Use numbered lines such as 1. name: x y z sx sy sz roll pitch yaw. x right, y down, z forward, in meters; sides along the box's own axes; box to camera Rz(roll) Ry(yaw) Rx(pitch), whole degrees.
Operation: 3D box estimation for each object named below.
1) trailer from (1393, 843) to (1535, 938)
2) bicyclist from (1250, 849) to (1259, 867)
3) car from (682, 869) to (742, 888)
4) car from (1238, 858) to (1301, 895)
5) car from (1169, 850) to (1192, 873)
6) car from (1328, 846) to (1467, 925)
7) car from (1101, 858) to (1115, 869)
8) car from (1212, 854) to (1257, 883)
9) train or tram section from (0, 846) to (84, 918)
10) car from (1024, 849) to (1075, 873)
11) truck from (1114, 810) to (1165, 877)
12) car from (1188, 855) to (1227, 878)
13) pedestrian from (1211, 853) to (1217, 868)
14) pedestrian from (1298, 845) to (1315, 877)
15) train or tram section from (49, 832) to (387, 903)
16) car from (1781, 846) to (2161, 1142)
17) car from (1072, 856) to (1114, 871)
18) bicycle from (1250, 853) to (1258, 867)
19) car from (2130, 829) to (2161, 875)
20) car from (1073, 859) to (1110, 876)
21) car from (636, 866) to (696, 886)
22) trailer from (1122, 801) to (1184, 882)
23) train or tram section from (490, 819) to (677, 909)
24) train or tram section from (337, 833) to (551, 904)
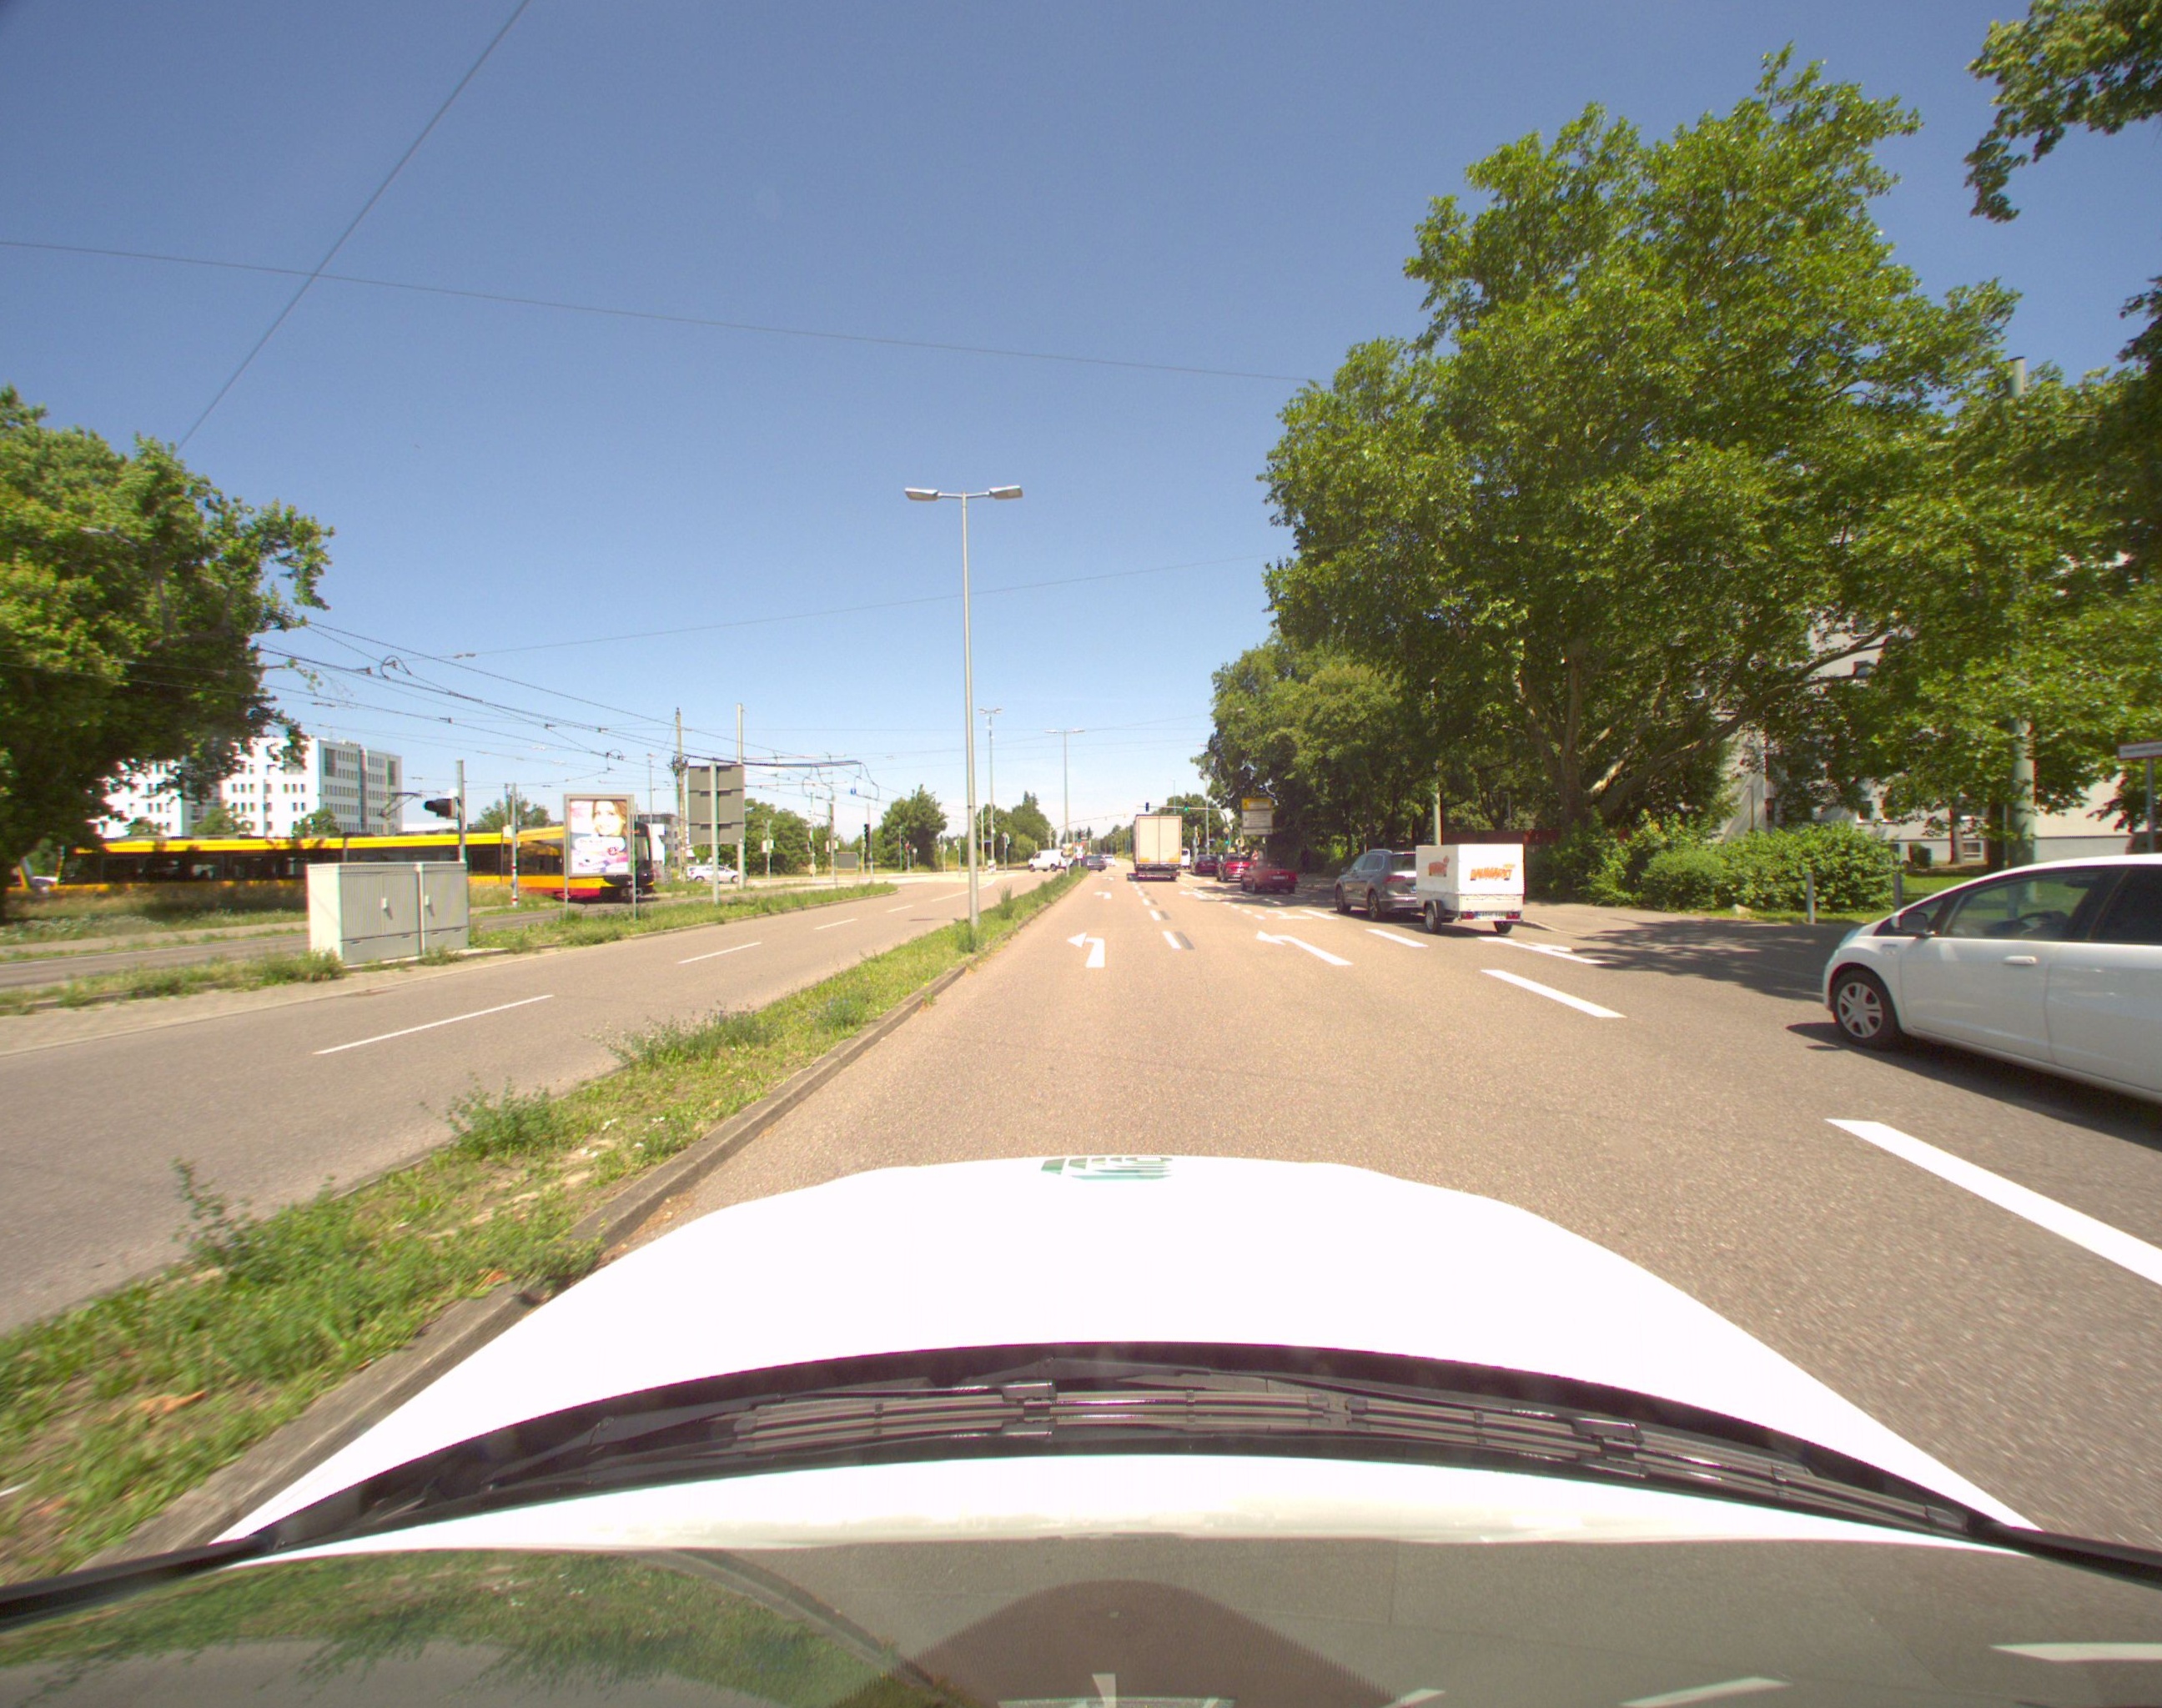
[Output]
1. trailer: 7.313 0.649 15.818 1.463 1.669 2.856 0 0 1
2. bicyclist: 17.060 0.386 79.987 0.796 1.727 0.681 -4 -1 13
3. car: -29.463 1.918 65.043 4.290 1.293 1.982 -1 1 -27
4. car: 7.528 0.866 32.833 1.649 1.396 4.268 0 0 1
5. car: 9.771 0.725 80.007 1.884 2.121 3.888 0 0 1
6. car: 7.367 0.673 19.447 1.693 1.654 4.399 0 0 1
7. car: 3.596 1.242 108.516 1.851 1.373 4.157 0 0 1
8. car: 8.509 0.779 45.407 1.851 1.549 3.888 0 0 1
9. train or tram section: -55.955 1.335 37.362 3.007 3.466 12.831 0 0 37
10. car: -2.979 0.633 75.257 4.688 2.111 2.012 0 1 44
11. truck: 4.041 -0.724 57.646 2.819 4.344 8.280 1 0 -1
12. car: 8.930 0.827 57.755 1.988 1.503 4.500 -1 0 -1
13. pedestrian: 17.991 0.912 110.073 0.739 2.014 0.614 0 0 3
14. pedestrian: 13.215 0.393 47.798 0.750 1.816 0.693 -2 0 1
15. train or tram section: -44.667 0.670 42.684 12.712 3.466 3.035 0 0 -11
16. car: 6.465 0.708 4.913 1.709 1.488 3.890 0 0 11
17. car: 1.152 0.921 79.572 1.907 1.372 4.382 -1 1 -36
18. bicycle: 17.037 0.582 80.147 0.640 1.304 1.631 -4 -1 13
19. car: 41.272 -0.075 29.588 1.751 1.701 3.703 0 0 -44
20. car: 0.873 1.160 69.174 1.897 1.372 4.404 1 -1 -17
21. car: -33.894 1.782 66.572 4.292 1.412 1.881 -1 1 -29
22. trailer: 4.194 -0.681 49.042 2.819 4.421 8.745 0 0 -1
23. train or tram section: -22.756 0.393 36.687 13.121 3.466 3.065 0 0 40
24. train or tram section: -33.054 0.702 42.302 10.118 3.466 3.058 0 0 14
